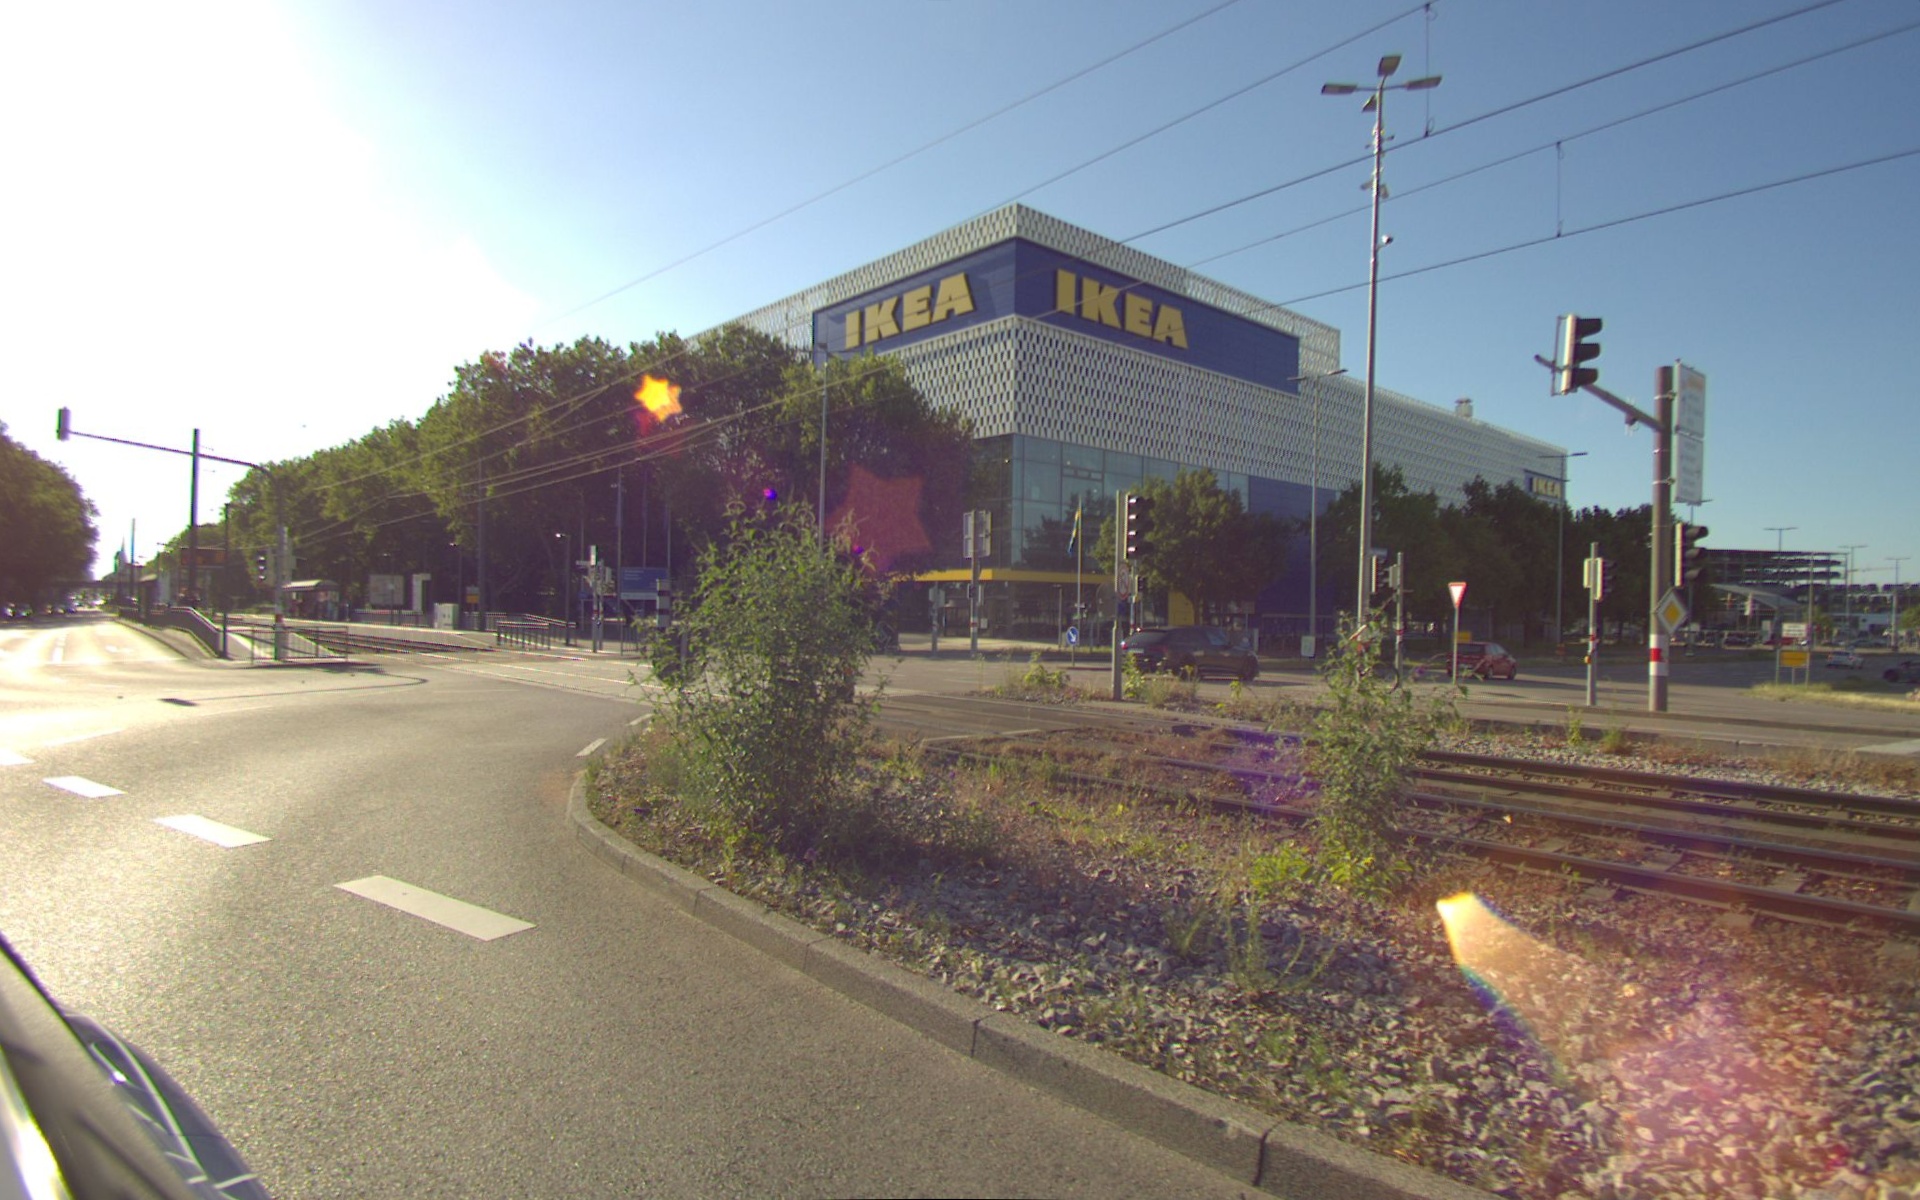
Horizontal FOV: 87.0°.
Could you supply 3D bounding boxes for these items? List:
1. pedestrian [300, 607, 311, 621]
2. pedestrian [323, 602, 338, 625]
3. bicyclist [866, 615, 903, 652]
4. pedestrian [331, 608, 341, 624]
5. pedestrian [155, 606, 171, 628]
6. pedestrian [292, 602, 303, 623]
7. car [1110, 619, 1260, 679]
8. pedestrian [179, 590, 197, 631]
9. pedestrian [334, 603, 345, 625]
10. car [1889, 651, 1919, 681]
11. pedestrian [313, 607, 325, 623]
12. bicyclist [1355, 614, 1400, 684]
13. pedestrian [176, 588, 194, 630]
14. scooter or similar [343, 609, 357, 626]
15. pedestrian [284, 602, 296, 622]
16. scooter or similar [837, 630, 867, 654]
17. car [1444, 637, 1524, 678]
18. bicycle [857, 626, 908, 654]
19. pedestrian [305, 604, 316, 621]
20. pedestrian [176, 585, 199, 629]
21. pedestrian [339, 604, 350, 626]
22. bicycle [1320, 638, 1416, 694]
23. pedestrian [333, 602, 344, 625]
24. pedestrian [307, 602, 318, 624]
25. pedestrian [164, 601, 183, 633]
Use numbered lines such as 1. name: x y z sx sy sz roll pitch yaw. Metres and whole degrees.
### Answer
1. pedestrian: -56.620 1.235 87.523 0.669 1.171 0.625 1 -1 -44
2. pedestrian: -49.370 1.060 79.376 0.686 1.704 0.724 -1 1 38
3. bicyclist: -3.455 1.532 46.372 1.461 1.629 0.825 2 0 -35
4. pedestrian: -48.197 1.260 78.201 0.594 1.233 0.618 -1 1 -38
5. pedestrian: -46.412 0.962 58.949 0.672 1.241 0.880 -2 1 -41
6. pedestrian: -53.683 1.017 82.001 0.652 1.645 0.778 -1 1 -40
7. car: 6.136 1.331 27.394 4.027 1.469 1.924 3 -2 -41
8. pedestrian: -31.383 0.417 41.142 0.527 1.669 0.752 -2 1 -39
9. pedestrian: -47.338 1.075 77.206 0.643 1.632 0.636 -1 1 -38
10. car: 56.577 3.891 58.223 1.876 1.580 4.261 -2 1 -17
11. pedestrian: -51.744 1.213 81.724 0.645 1.262 0.686 -2 1 -44
12. bicyclist: 9.436 1.094 22.893 0.580 1.534 0.752 0 -1 -41
13. pedestrian: -32.028 0.366 41.833 0.527 1.705 0.762 -2 2 -39
14. scooter or similar: -44.846 1.266 74.419 0.656 1.244 1.374 1 -1 -42
15. pedestrian: -58.823 1.028 88.846 0.752 1.723 0.679 -2 1 -40
16. scooter or similar: -4.846 1.894 45.329 1.049 1.023 0.791 2 0 -35
17. car: 21.168 2.335 40.856 3.531 1.471 1.773 4 -2 -43
18. bicycle: -3.519 1.850 46.314 2.241 1.227 0.716 2 0 -35
19. pedestrian: -54.465 1.054 84.844 0.544 1.479 0.607 0 -1 41
20. pedestrian: -32.394 0.281 42.462 0.697 1.788 0.536 -2 2 -37
21. pedestrian: -46.298 1.108 76.157 0.594 1.632 0.692 -1 1 -38
22. bicycle: 9.280 1.481 23.081 0.580 1.176 1.995 0 -1 -41
23. pedestrian: -47.637 1.009 77.604 0.643 1.732 0.636 -1 0 -38
24. pedestrian: -51.500 1.040 80.466 0.644 1.755 0.687 -2 1 -38
25. pedestrian: -43.385 0.944 55.821 0.822 1.728 0.685 0 0 44
